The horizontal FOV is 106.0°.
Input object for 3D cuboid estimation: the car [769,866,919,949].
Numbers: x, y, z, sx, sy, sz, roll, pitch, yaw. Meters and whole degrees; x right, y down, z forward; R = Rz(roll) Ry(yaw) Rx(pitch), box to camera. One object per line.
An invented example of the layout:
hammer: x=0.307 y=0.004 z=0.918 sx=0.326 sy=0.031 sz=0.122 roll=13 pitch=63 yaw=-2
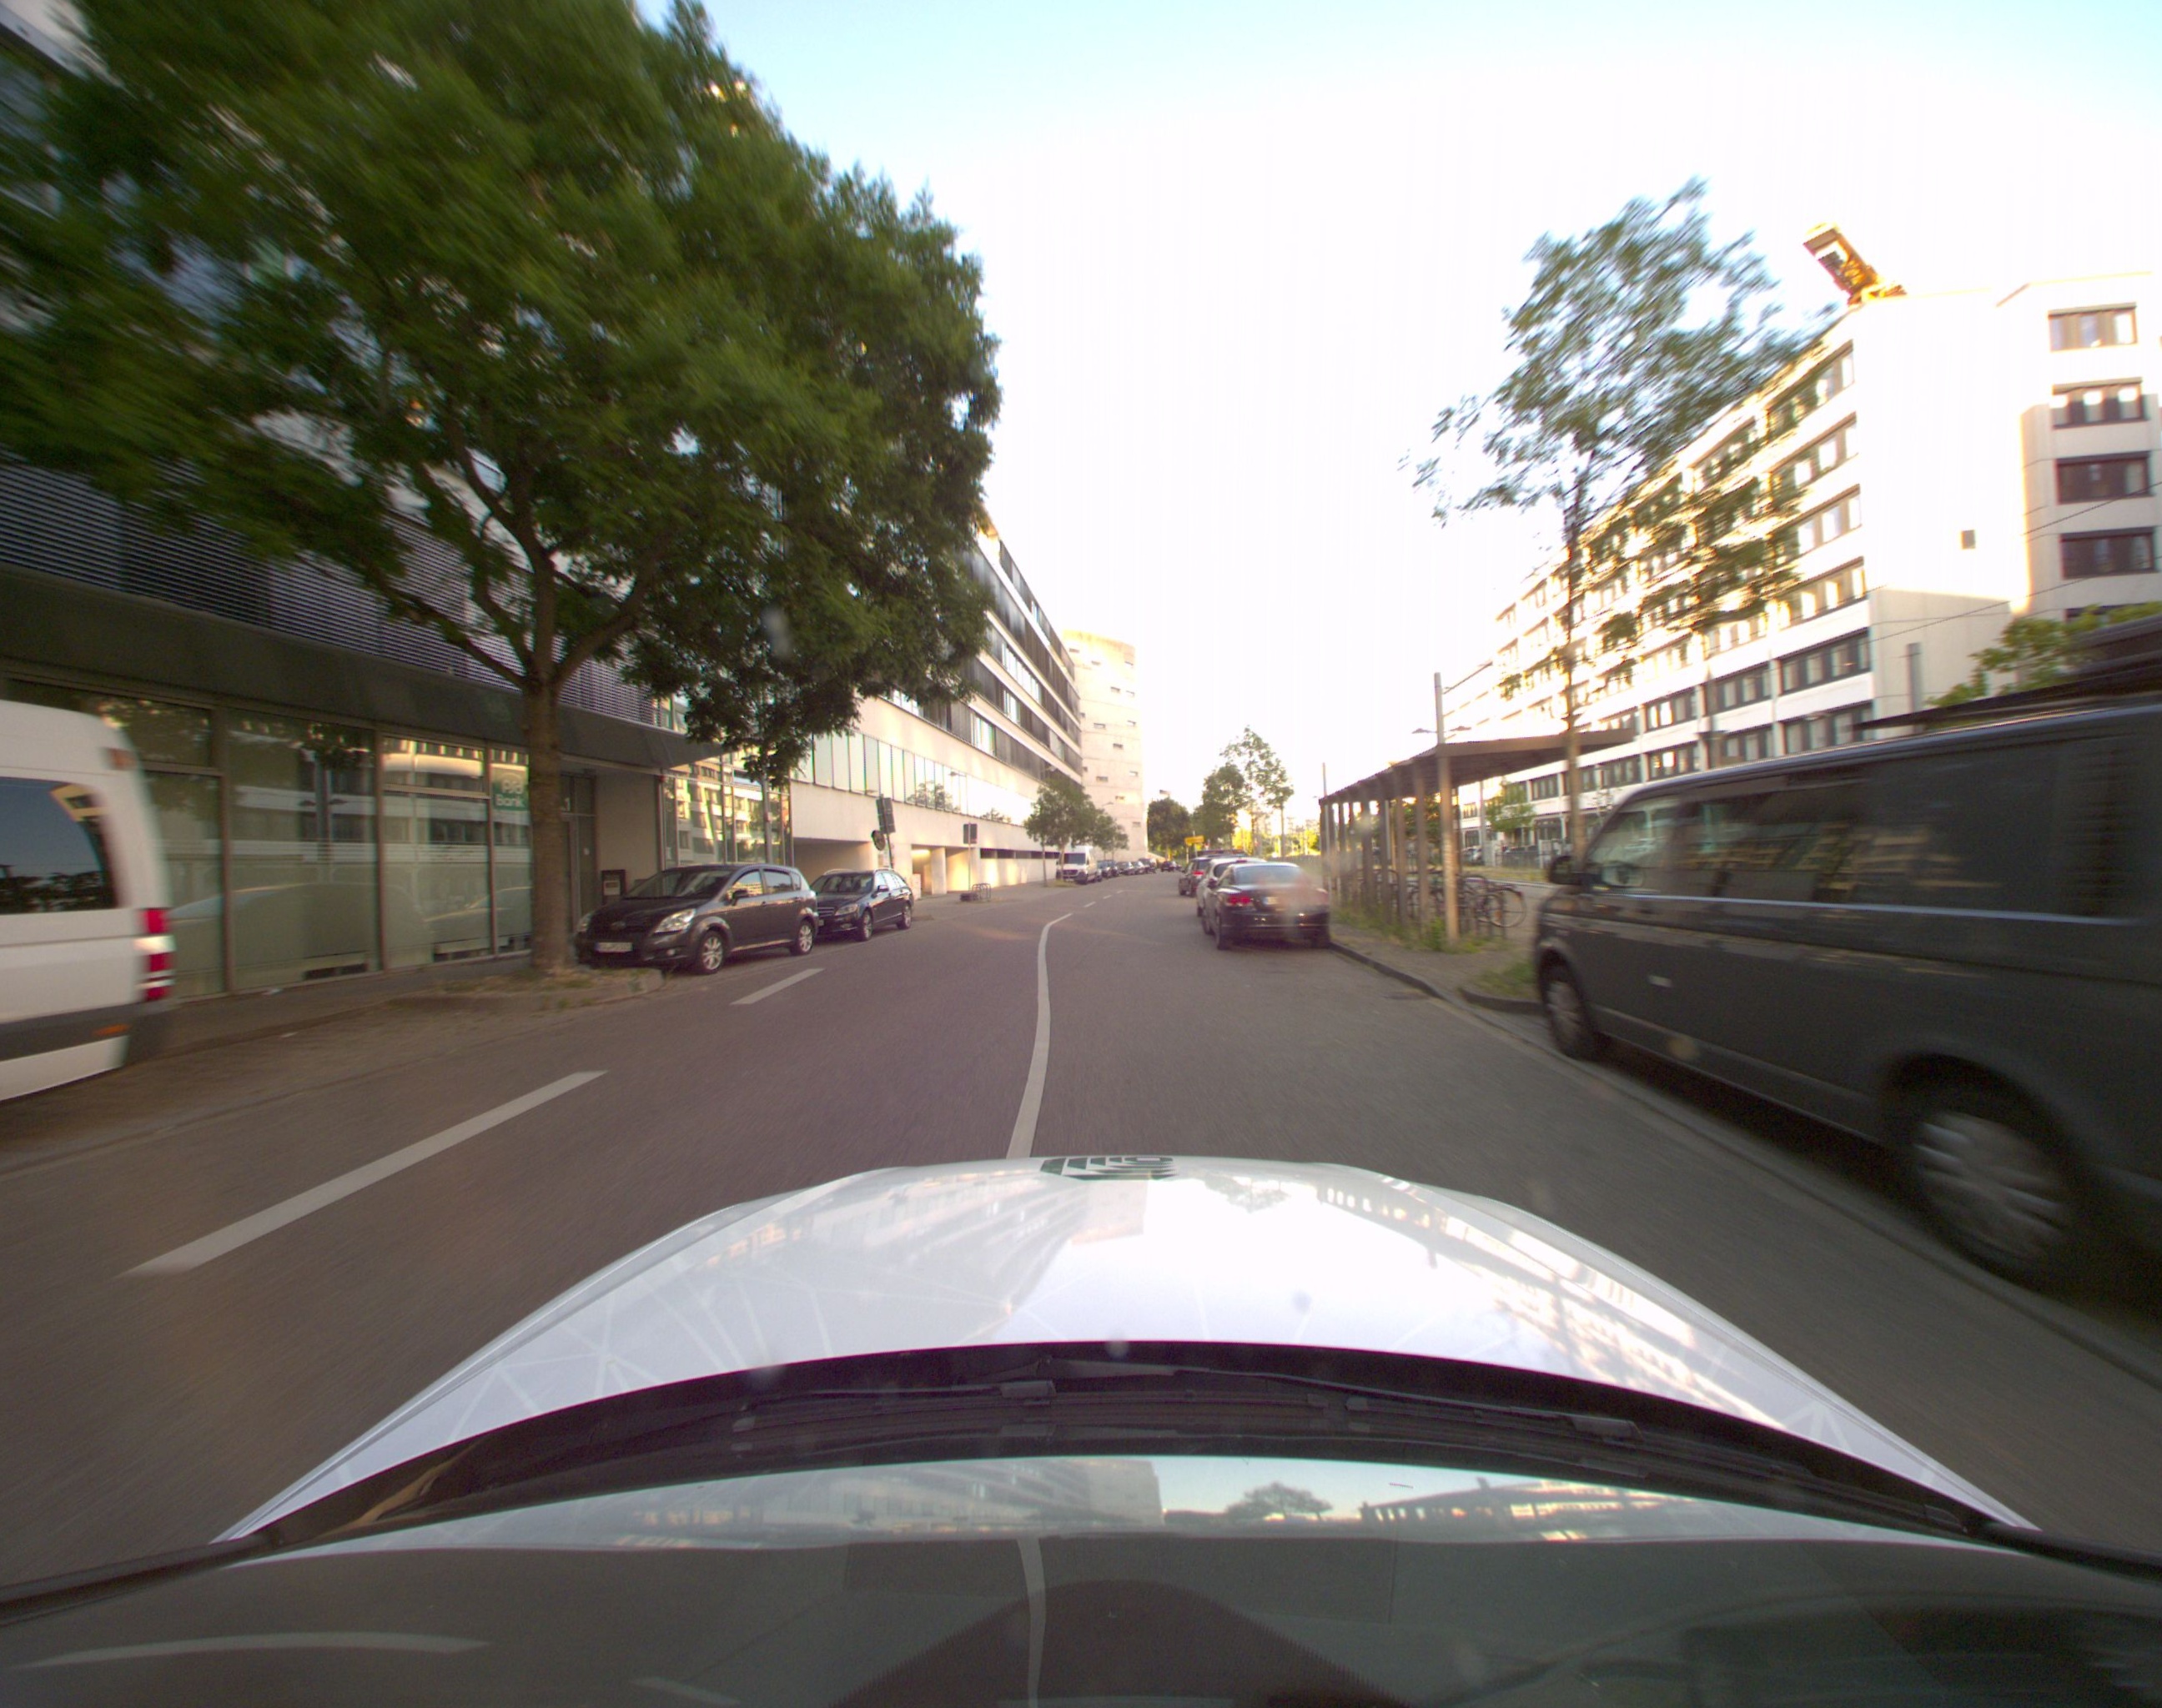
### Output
car: x=-4.943 y=1.056 z=17.660 sx=1.708 sy=1.452 sz=4.402 roll=-2 pitch=0 yaw=3

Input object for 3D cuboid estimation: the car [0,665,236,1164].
car: x=-7.123 y=0.351 z=2.062 sx=2.089 sy=2.664 sz=6.965 roll=-2 pitch=0 yaw=7

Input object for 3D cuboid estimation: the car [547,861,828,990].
car: x=-5.769 y=0.953 z=12.650 sx=1.834 sy=1.571 sz=4.276 roll=-2 pitch=0 yaw=7

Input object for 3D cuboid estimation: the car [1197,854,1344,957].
car: x=3.109 y=0.763 z=14.239 sx=1.779 sy=1.452 sz=4.520 roll=-2 pitch=0 yaw=4

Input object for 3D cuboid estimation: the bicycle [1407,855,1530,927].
bicycle: x=6.268 y=0.601 z=13.225 sx=1.710 sy=1.066 sz=0.422 roll=-3 pitch=-2 yaw=6

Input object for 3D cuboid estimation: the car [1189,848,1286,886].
car: x=7.233 y=0.599 z=37.555 sx=4.011 sy=1.520 sz=1.910 roll=-3 pitch=-2 yaw=-29

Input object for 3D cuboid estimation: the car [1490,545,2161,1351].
car: x=4.013 y=0.228 z=4.138 sx=1.795 sy=2.176 sz=4.744 roll=-4 pitch=-1 yaw=6

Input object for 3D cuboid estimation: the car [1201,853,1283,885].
car: x=9.572 y=0.882 z=48.467 sx=4.613 sy=1.749 sz=1.855 roll=-1 pitch=0 yaw=-27

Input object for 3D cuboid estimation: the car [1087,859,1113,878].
car: x=1.670 y=1.226 z=69.249 sx=1.746 sy=1.561 sz=4.052 roll=0 pitch=0 yaw=8

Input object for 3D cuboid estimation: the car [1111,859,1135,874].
car: x=4.365 y=1.316 z=83.631 sx=1.710 sy=1.457 sz=4.287 roll=0 pitch=0 yaw=14

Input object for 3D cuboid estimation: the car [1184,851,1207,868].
car: x=11.057 y=0.536 z=78.741 sx=1.709 sy=1.467 sz=3.567 roll=-3 pitch=-1 yaw=15

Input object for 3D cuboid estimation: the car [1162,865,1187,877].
car: x=11.905 y=2.132 z=103.836 sx=1.927 sy=1.382 sz=4.423 roll=-1 pitch=0 yaw=23

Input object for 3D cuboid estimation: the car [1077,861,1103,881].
car: x=0.696 y=1.244 z=60.581 sx=1.749 sy=1.439 sz=3.904 roll=0 pitch=0 yaw=3

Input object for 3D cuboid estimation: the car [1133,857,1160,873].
car: x=7.625 y=1.217 z=94.151 sx=1.742 sy=1.798 sz=4.487 roll=-1 pitch=0 yaw=22

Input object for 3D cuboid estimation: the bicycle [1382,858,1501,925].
bicycle: x=6.322 y=0.656 z=14.330 sx=1.796 sy=1.066 sz=0.488 roll=-3 pitch=-2 yaw=6

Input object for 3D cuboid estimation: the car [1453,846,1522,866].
car: x=27.856 y=0.138 z=55.936 sx=3.967 sy=1.398 sz=1.594 roll=0 pitch=0 yaw=5

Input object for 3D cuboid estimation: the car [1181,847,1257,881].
car: x=8.806 y=0.624 z=51.860 sx=4.613 sy=2.035 sz=1.855 roll=-1 pitch=0 yaw=-27

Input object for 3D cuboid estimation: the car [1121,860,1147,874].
car: x=5.844 y=1.393 z=89.096 sx=1.709 sy=1.457 sz=4.715 roll=-1 pitch=0 yaw=18

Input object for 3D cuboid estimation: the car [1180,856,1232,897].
car: x=4.777 y=0.860 z=31.536 sx=1.723 sy=1.466 sz=4.005 roll=0 pitch=-1 yaw=5

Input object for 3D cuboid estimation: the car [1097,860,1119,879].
car: x=2.509 y=1.374 z=75.015 sx=1.747 sy=1.653 sz=3.956 roll=0 pitch=0 yaw=7

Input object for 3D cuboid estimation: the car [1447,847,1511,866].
car: x=29.155 y=0.170 z=59.739 sx=3.967 sy=1.398 sz=1.594 roll=0 pitch=0 yaw=5

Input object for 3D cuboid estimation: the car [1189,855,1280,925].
car: x=3.615 y=0.794 z=19.806 sx=1.668 sy=1.452 sz=4.192 roll=-2 pitch=-1 yaw=4

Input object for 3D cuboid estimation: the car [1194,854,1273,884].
car: x=8.234 y=0.799 z=43.998 sx=4.011 sy=1.595 sz=1.720 roll=0 pitch=-1 yaw=-29

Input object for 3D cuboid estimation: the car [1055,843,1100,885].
car: x=-0.156 y=0.616 z=54.344 sx=1.947 sy=2.617 sz=6.909 roll=0 pitch=0 yaw=9
